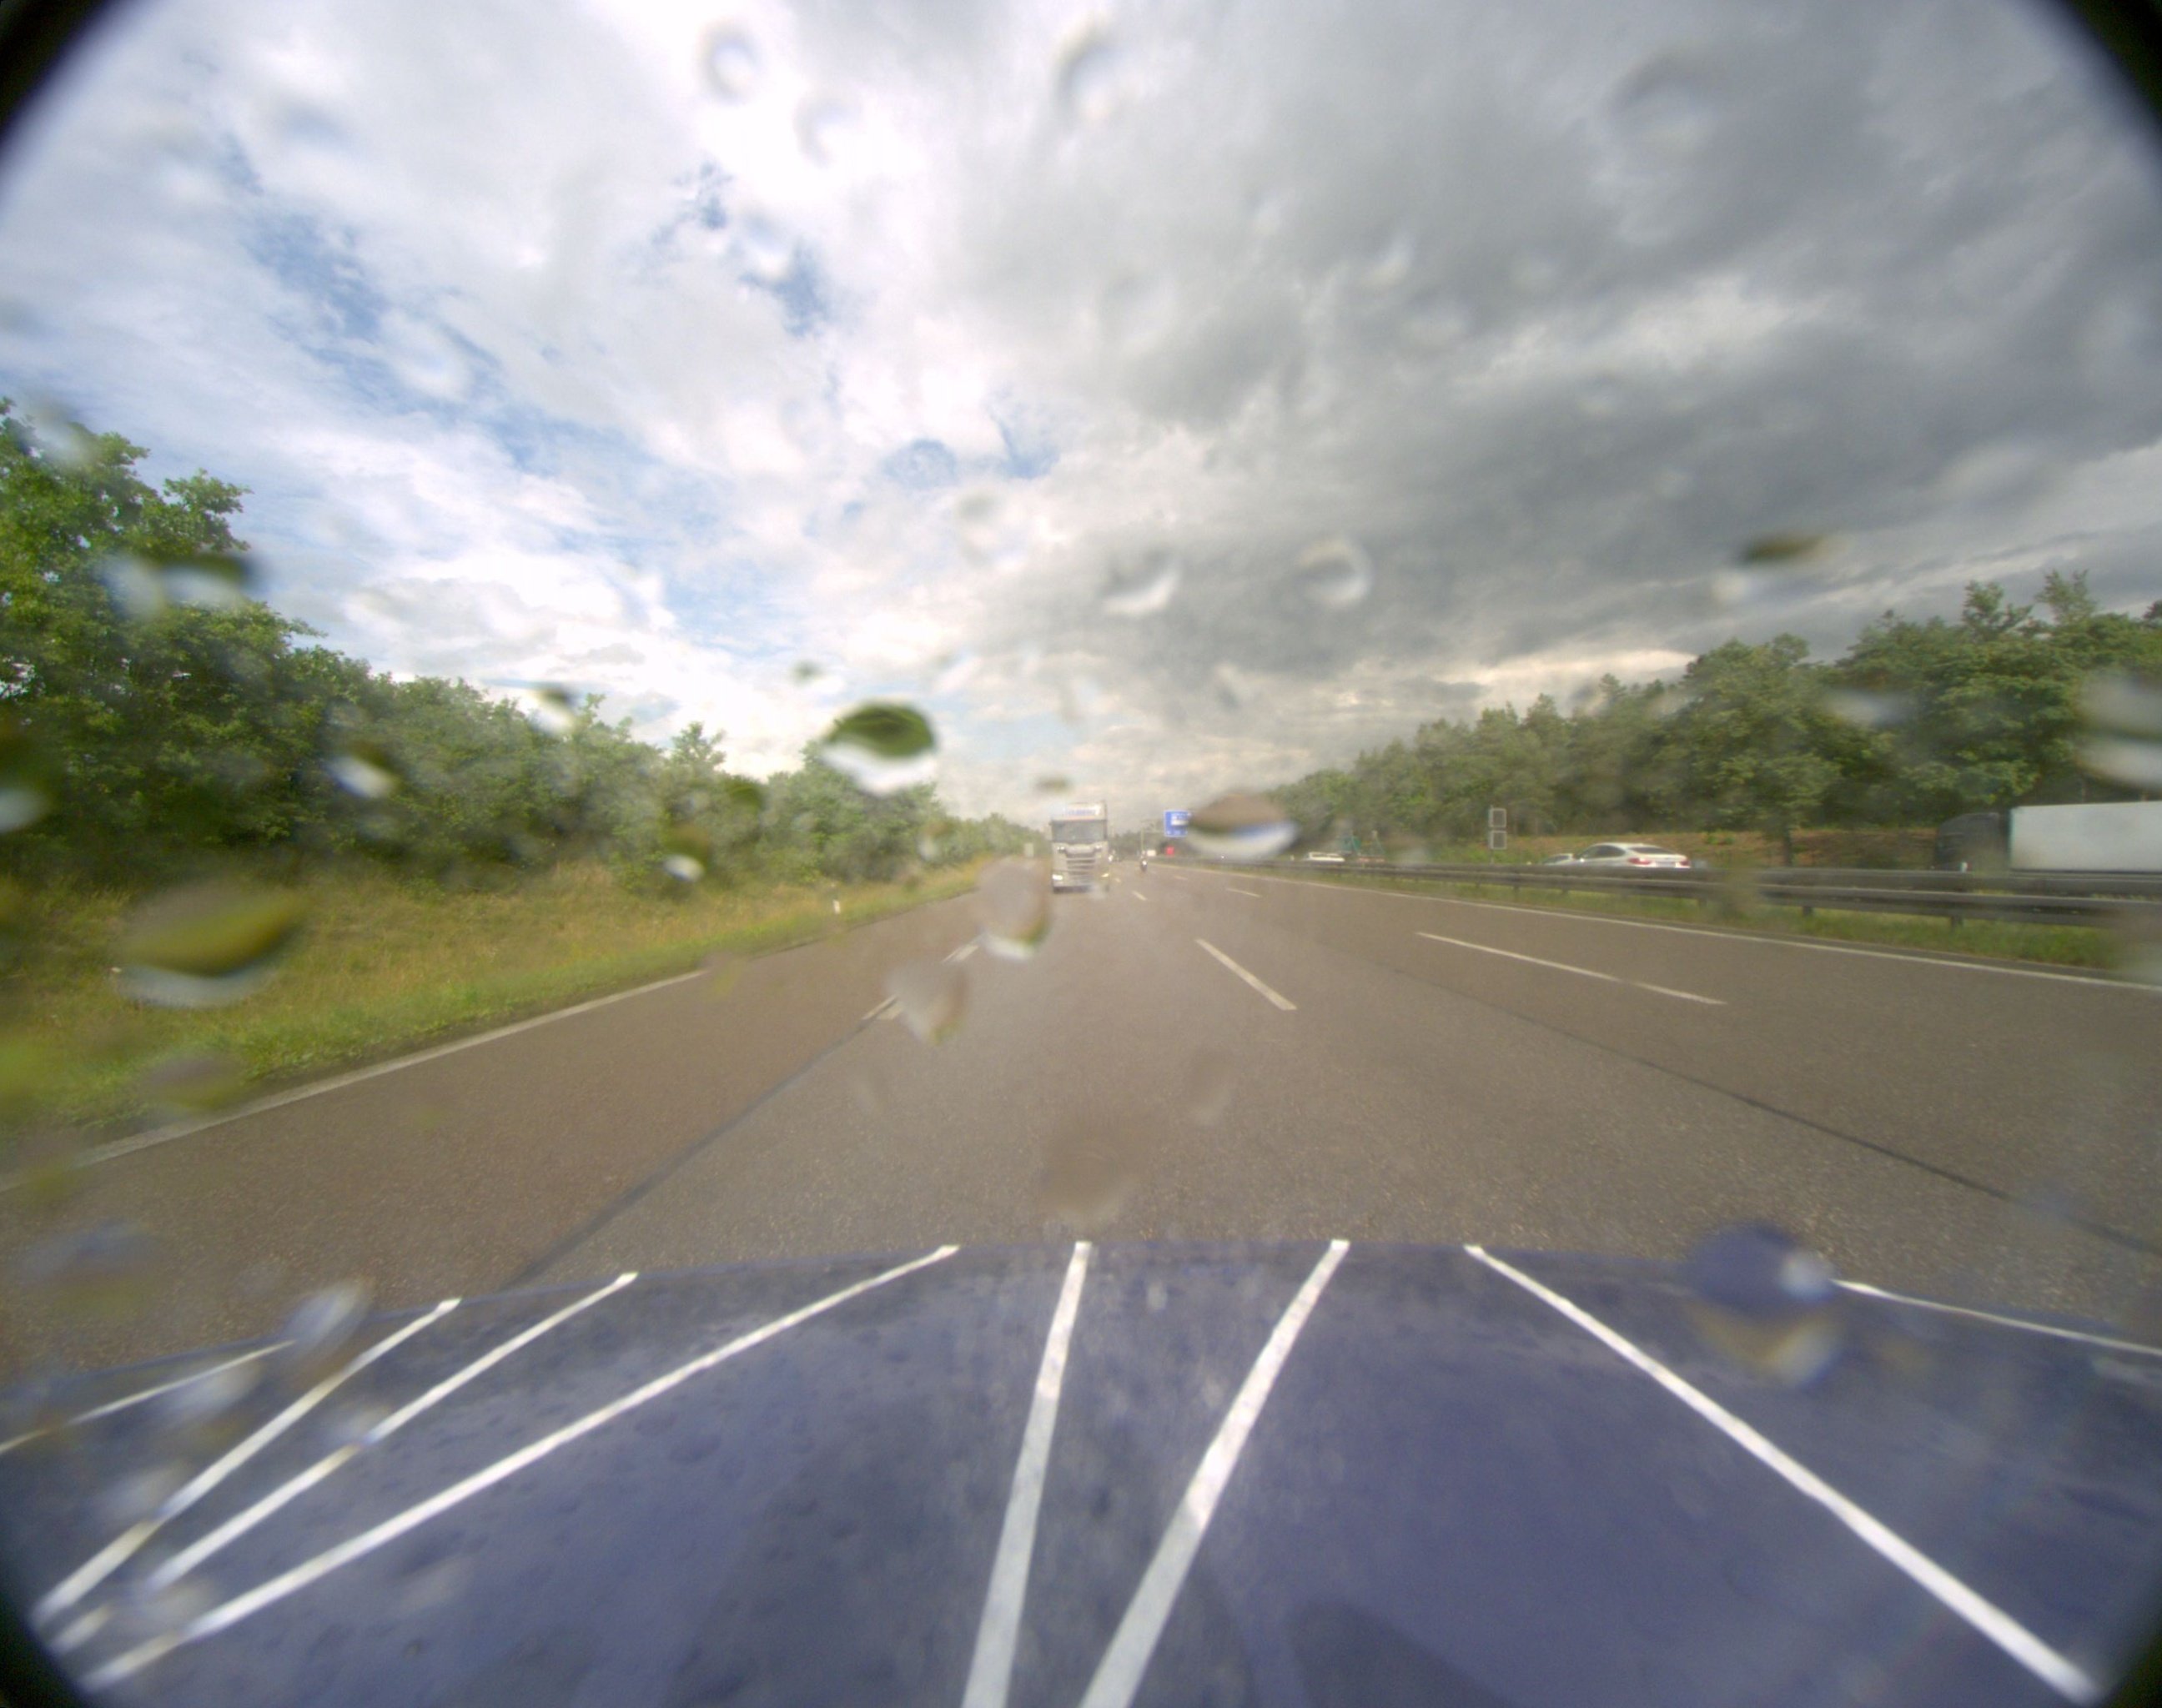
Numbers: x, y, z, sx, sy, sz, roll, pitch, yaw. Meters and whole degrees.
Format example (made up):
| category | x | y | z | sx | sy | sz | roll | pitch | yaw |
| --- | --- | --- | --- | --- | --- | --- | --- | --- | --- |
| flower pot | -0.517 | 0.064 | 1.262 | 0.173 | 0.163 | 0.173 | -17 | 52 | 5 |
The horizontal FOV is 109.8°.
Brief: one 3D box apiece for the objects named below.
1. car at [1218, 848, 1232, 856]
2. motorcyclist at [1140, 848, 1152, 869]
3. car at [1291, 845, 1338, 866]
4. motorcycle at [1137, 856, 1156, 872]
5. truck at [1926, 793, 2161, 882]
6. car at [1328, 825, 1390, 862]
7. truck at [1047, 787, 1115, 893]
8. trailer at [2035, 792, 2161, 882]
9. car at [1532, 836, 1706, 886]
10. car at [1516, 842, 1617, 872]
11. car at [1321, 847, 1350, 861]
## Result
| category | x | y | z | sx | sy | sz | roll | pitch | yaw |
| --- | --- | --- | --- | --- | --- | --- | --- | --- | --- |
| car | 21.651 | -0.283 | 114.691 | 1.449 | 1.051 | 3.114 | -2 | 1 | -1 |
| motorcyclist | 5.453 | 0.342 | 63.614 | 0.883 | 1.696 | 1.000 | -2 | 1 | -1 |
| car | 17.368 | 0.065 | 56.810 | 1.903 | 1.384 | 5.420 | -2 | 1 | 1 |
| motorcycle | 5.471 | 0.833 | 63.687 | 1.188 | 1.219 | 3.193 | -2 | 1 | -2 |
| truck | 45.143 | -0.738 | 35.456 | 3.219 | 3.683 | 6.908 | -2 | 1 | -13 |
| car | 25.296 | -0.941 | 69.471 | 2.951 | 3.092 | 7.343 | -2 | 1 | 1 |
| truck | -0.126 | -0.621 | 34.641 | 2.650 | 4.250 | 6.882 | -2 | 1 | -2 |
| trailer | 46.669 | -0.709 | 29.054 | 3.215 | 3.717 | 12.555 | -1 | 0 | -13 |
| car | 17.356 | 0.164 | 24.946 | 1.903 | 1.384 | 5.420 | -2 | 1 | 1 |
| car | 25.282 | 0.123 | 39.830 | 1.978 | 1.384 | 5.158 | -2 | 1 | 1 |
| car | 21.636 | -0.001 | 64.699 | 1.449 | 1.051 | 3.114 | -2 | 1 | 1 |
